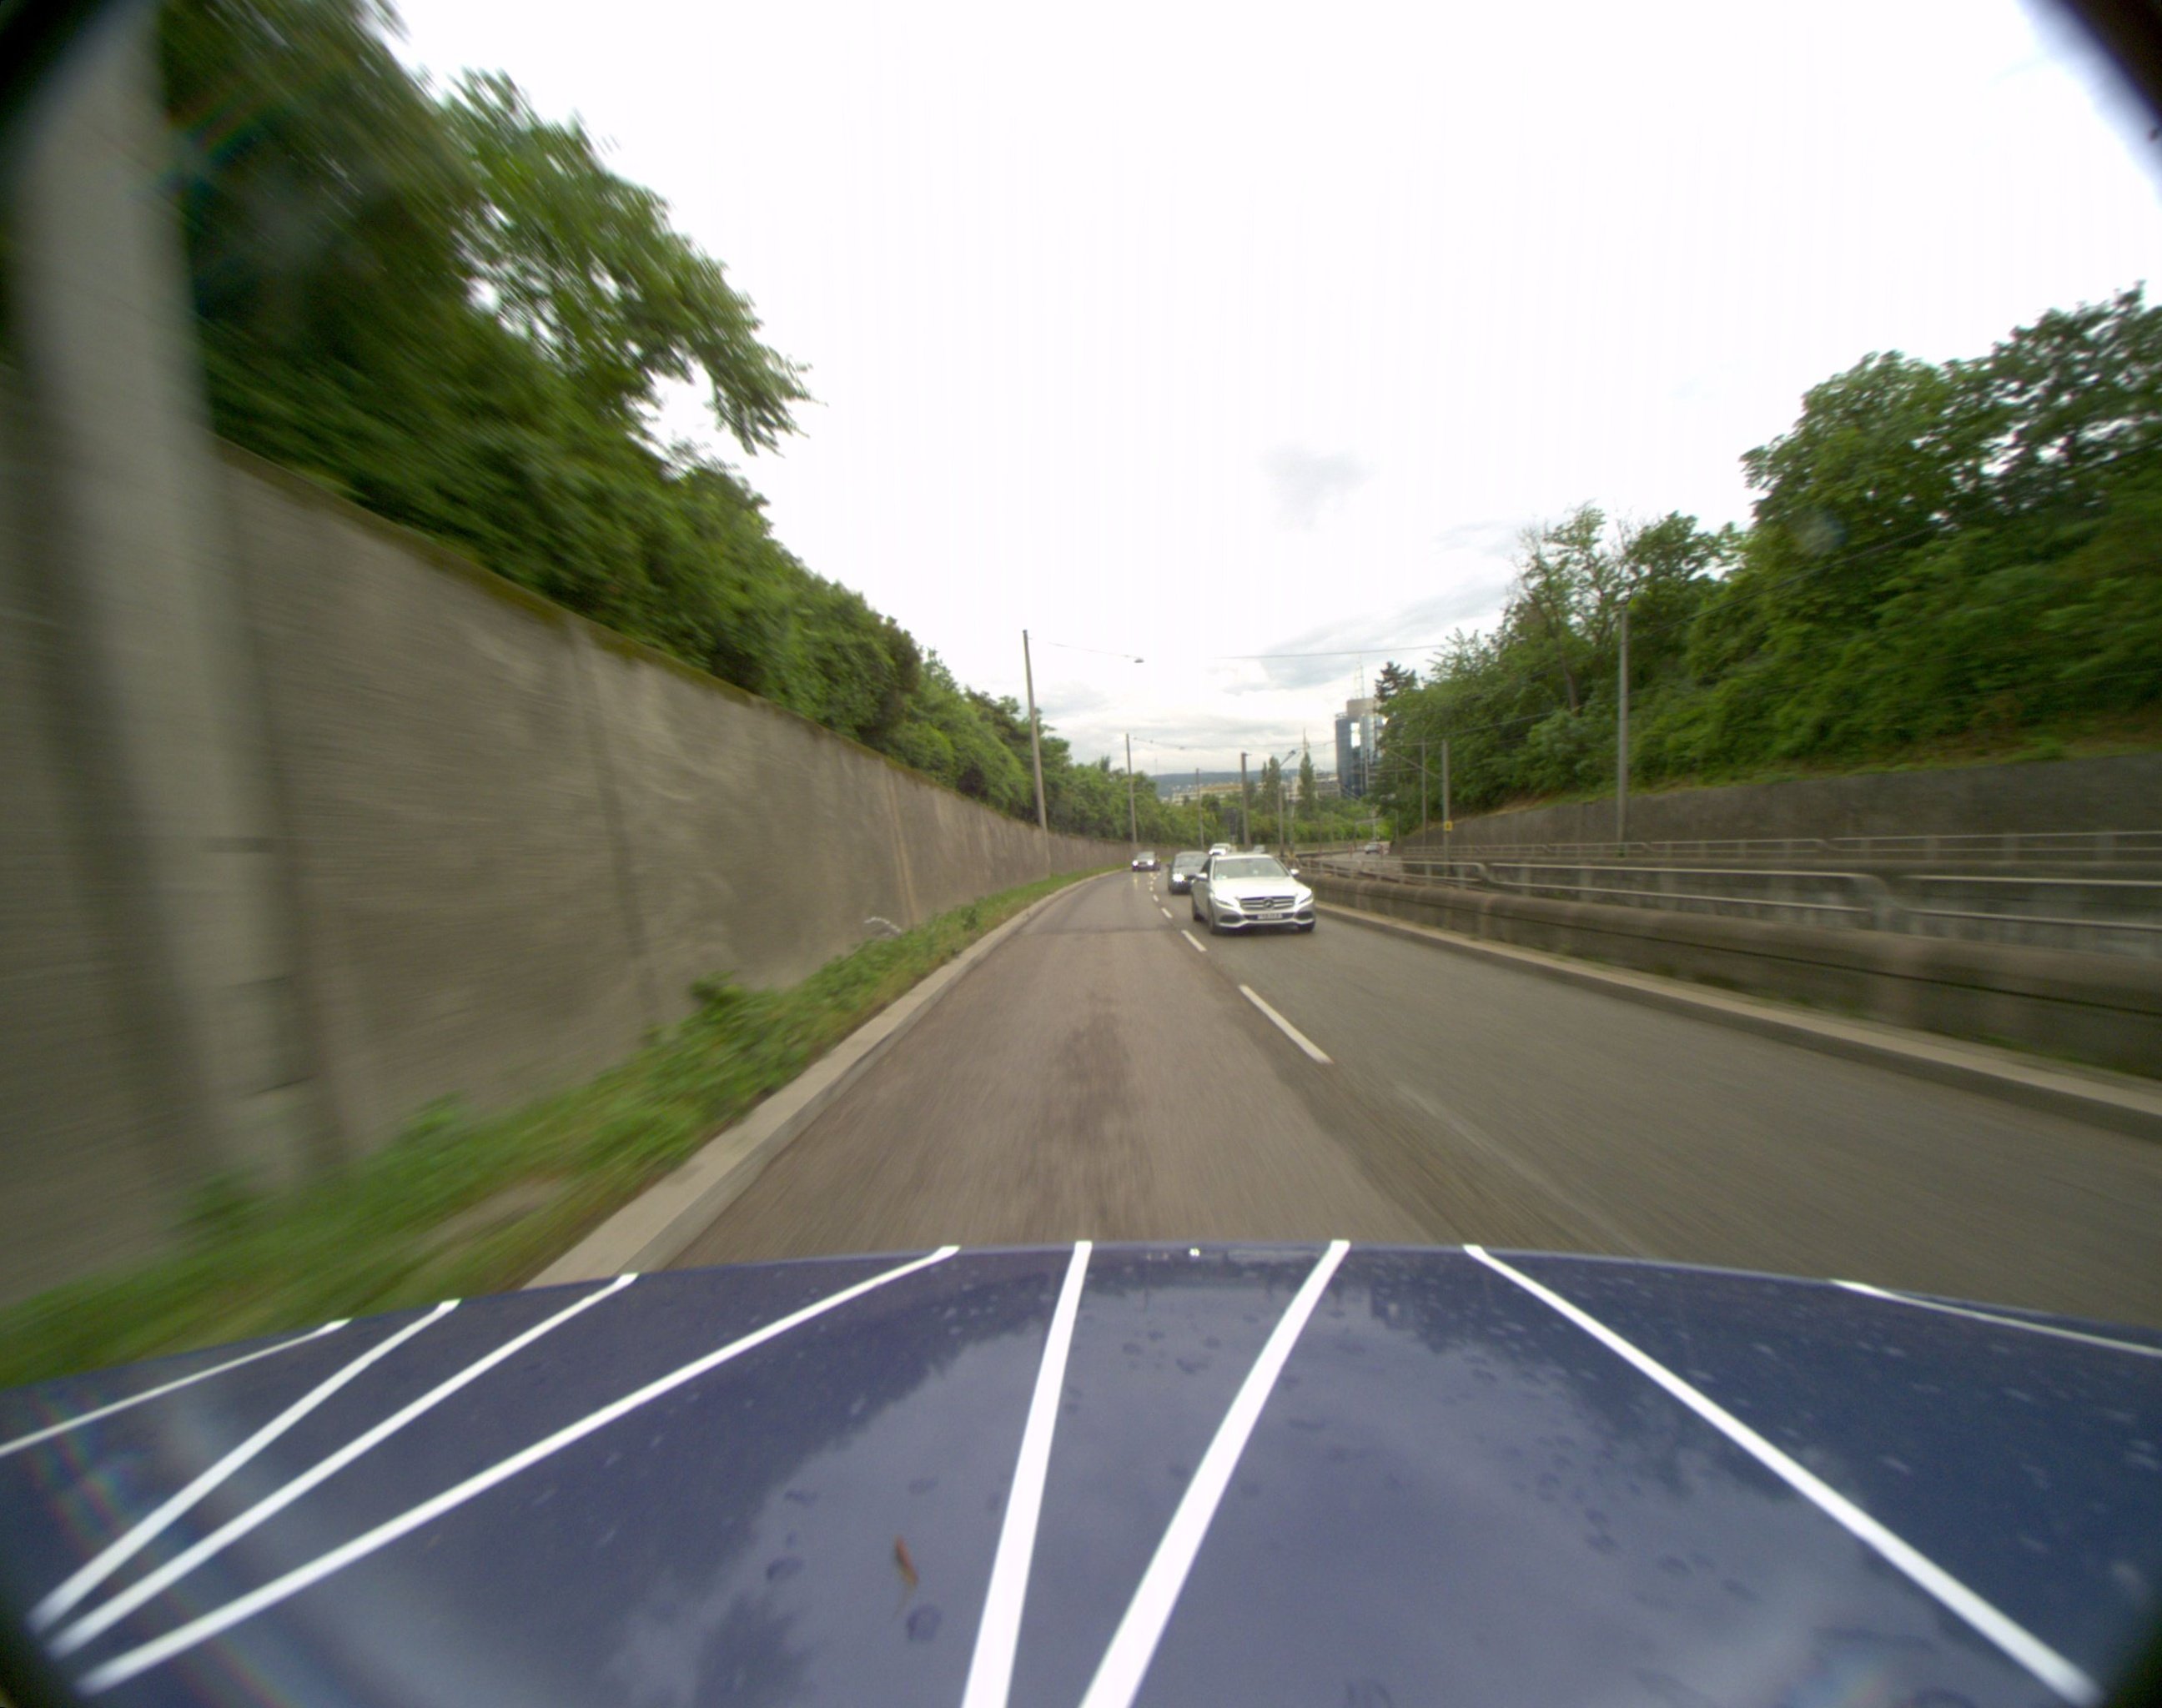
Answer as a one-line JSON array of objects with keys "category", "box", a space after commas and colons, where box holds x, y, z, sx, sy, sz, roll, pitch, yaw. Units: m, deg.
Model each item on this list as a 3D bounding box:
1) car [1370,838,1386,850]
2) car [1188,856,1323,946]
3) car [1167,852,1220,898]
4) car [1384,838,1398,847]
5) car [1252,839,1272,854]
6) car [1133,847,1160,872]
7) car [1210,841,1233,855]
[{"category": "car", "box": [42.651, -1.402, 109.098, 1.936, 1.674, 4.415, -1, 1, 24]}, {"category": "car", "box": [3.226, 0.801, 14.907, 1.861, 1.395, 4.315, -2, 0, 4]}, {"category": "car", "box": [4.011, 0.711, 27.474, 1.729, 1.462, 3.889, -2, 0, 7]}, {"category": "car", "box": [62.147, -2.318, 152.239, 2.235, 1.820, 5.145, -1, 1, 25]}, {"category": "car", "box": [25.021, -1.073, 104.862, 1.995, 2.002, 4.501, -1, 1, 22]}, {"category": "car", "box": [4.890, 0.386, 56.508, 1.809, 1.501, 4.000, -4, 2, 6]}, {"category": "car", "box": [17.656, -0.788, 95.351, 1.807, 1.501, 4.004, -3, 2, 25]}]
